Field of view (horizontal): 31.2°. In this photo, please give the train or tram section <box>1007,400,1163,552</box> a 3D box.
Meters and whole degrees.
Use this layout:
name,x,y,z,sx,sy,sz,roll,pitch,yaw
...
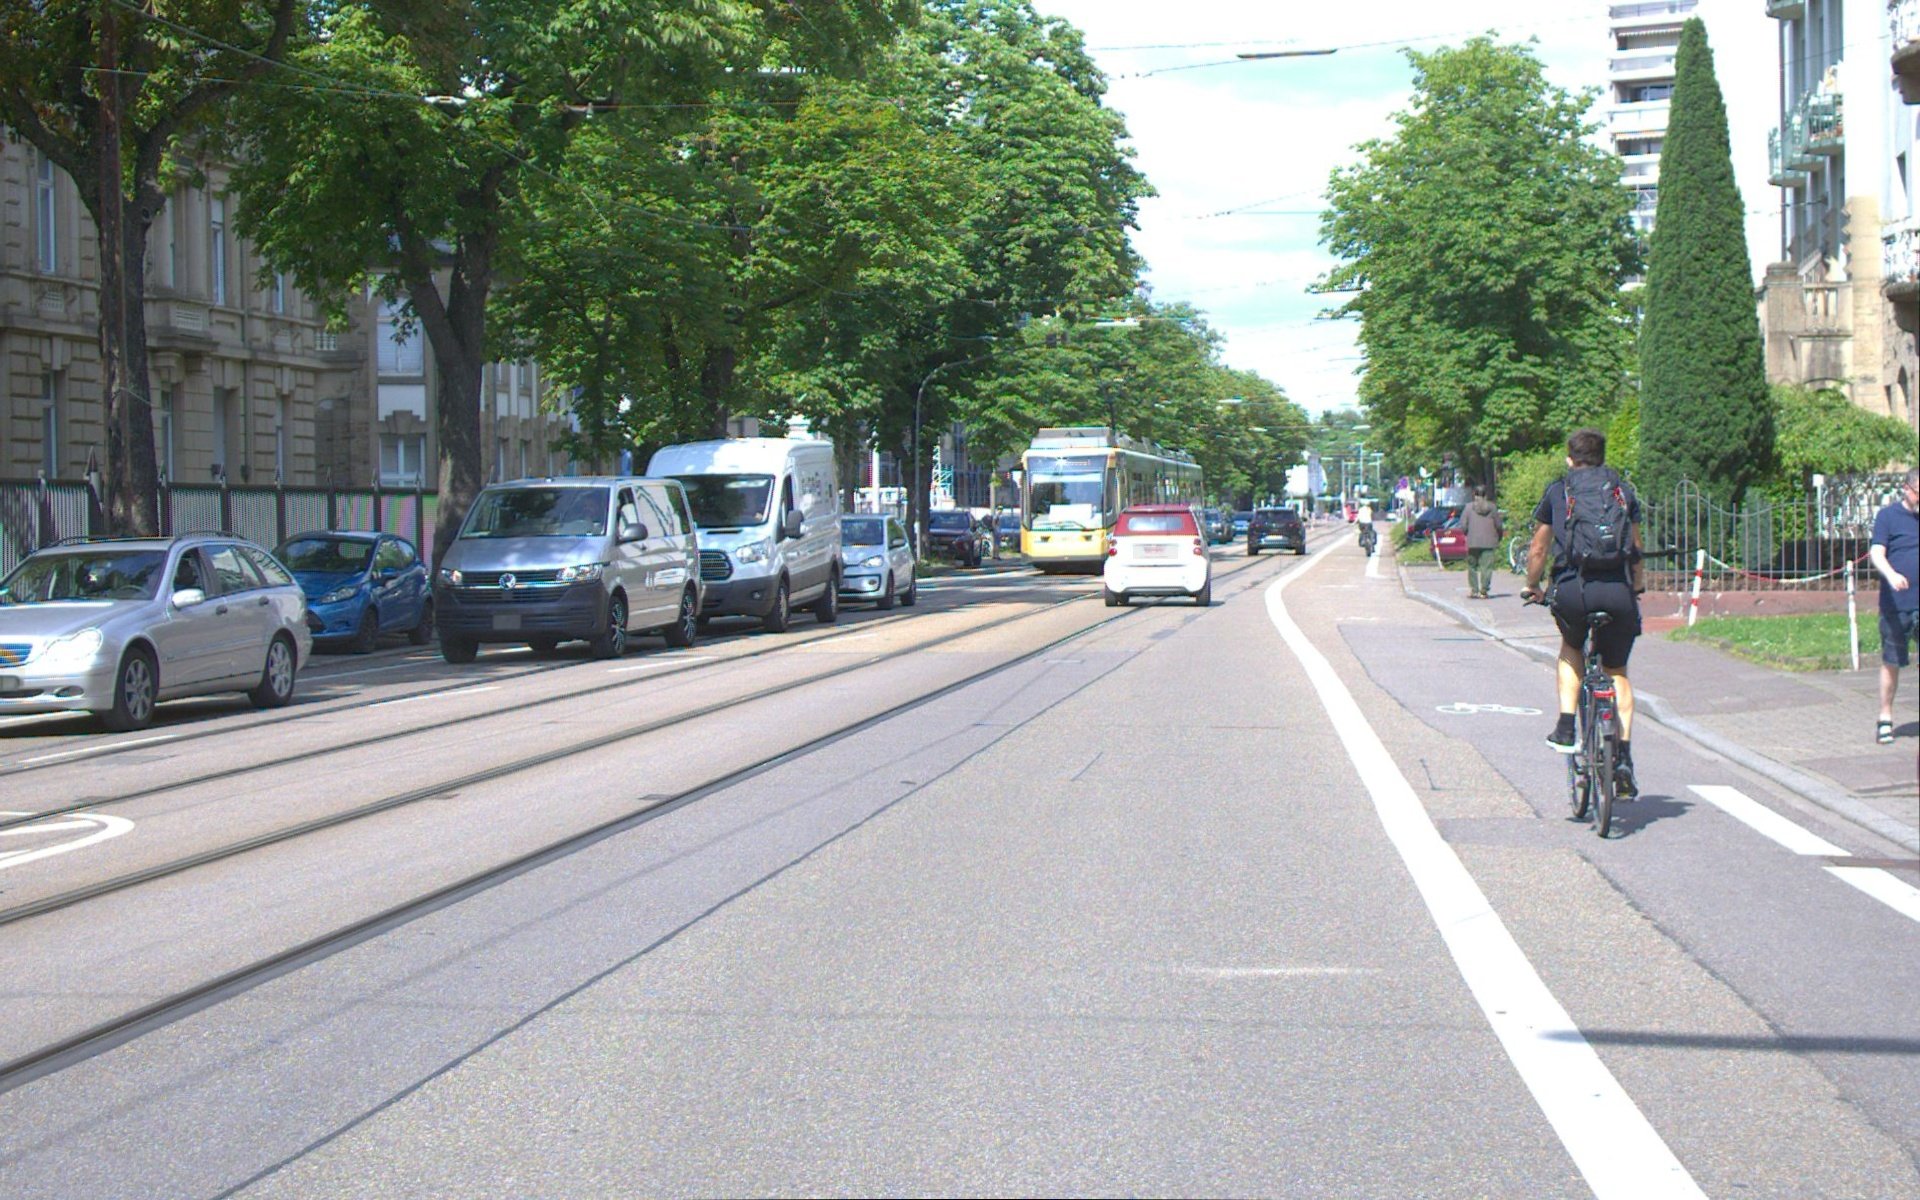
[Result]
name,x,y,z,sx,sy,sz,roll,pitch,yaw
train or tram section,3.264,-2.976,86.031,2.653,3.425,12.312,-2,1,7

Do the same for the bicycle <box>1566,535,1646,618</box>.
name,x,y,z,sx,sy,sz,roll,pitch,yaw
bicycle,8.222,-0.322,43.838,0.599,0.957,3.066,-4,1,4

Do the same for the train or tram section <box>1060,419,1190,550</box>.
name,x,y,z,sx,sy,sz,roll,pitch,yaw
train or tram section,4.787,-3.186,97.725,2.653,3.377,11.470,-2,1,7

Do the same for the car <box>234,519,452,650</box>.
name,x,y,z,sx,sy,sz,roll,pitch,yaw
car,-7.645,-0.222,42.920,1.549,1.514,4.084,1,1,6

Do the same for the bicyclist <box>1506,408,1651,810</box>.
name,x,y,z,sx,sy,sz,roll,pitch,yaw
bicyclist,3.099,0.032,17.291,0.607,1.941,1.130,1,1,7

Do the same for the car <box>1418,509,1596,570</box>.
name,x,y,z,sx,sy,sz,roll,pitch,yaw
car,13.402,-1.490,84.172,4.147,1.418,1.866,-2,1,-35

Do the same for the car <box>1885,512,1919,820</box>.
name,x,y,z,sx,sy,sz,roll,pitch,yaw
car,5.318,0.310,15.814,1.514,1.493,2.794,-3,1,5

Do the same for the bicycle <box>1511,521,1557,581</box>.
name,x,y,z,sx,sy,sz,roll,pitch,yaw
bicycle,9.995,-0.864,59.919,0.611,0.992,2.362,-3,1,7

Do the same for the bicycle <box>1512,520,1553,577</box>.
name,x,y,z,sx,sy,sz,roll,pitch,yaw
bicycle,10.365,-0.931,62.290,0.612,0.985,1.872,-2,1,7

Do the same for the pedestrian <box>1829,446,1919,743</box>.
name,x,y,z,sx,sy,sz,roll,pitch,yaw
pedestrian,6.057,-0.055,21.934,0.659,1.835,0.873,-5,1,-1

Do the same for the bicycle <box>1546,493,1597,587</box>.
name,x,y,z,sx,sy,sz,roll,pitch,yaw
bicycle,8.530,-0.846,47.978,0.451,1.256,1.844,-3,1,4

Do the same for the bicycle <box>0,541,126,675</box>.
name,x,y,z,sx,sy,sz,roll,pitch,yaw
bicycle,-9.399,0.075,34.162,2.050,1.304,0.620,0,1,-34

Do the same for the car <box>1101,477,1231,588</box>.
name,x,y,z,sx,sy,sz,roll,pitch,yaw
car,3.213,-1.035,53.137,1.666,1.619,3.619,1,1,8

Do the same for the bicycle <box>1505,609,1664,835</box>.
name,x,y,z,sx,sy,sz,roll,pitch,yaw
bicycle,3.121,0.587,17.305,0.616,1.041,1.835,-4,-1,7

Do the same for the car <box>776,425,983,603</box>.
name,x,y,z,sx,sy,sz,roll,pitch,yaw
car,-1.122,-1.297,51.991,2.316,2.499,6.362,-1,1,6

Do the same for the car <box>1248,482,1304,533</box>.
name,x,y,z,sx,sy,sz,roll,pitch,yaw
car,10.281,-3.026,111.678,1.666,1.619,3.620,0,2,7

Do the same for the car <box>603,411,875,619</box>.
name,x,y,z,sx,sy,sz,roll,pitch,yaw
car,-2.774,-1.154,45.048,2.316,2.499,6.362,-1,2,8

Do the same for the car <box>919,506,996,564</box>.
name,x,y,z,sx,sy,sz,roll,pitch,yaw
car,-0.046,-1.941,102.941,1.750,1.659,4.720,1,1,6

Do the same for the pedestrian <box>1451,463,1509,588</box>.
name,x,y,z,sx,sy,sz,roll,pitch,yaw
pedestrian,7.766,-1.113,51.368,0.787,1.855,0.580,0,1,1

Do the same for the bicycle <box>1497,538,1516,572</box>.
name,x,y,z,sx,sy,sz,roll,pitch,yaw
bicycle,10.993,-0.910,69.181,0.279,0.675,1.559,-4,0,7

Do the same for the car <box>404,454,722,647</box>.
name,x,y,z,sx,sy,sz,roll,pitch,yaw
car,-4.245,-0.589,37.703,1.987,1.956,5.177,0,2,11

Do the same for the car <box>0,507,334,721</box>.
name,x,y,z,sx,sy,sz,roll,pitch,yaw
car,-6.491,0.052,26.661,1.693,1.475,4.480,-1,2,11
